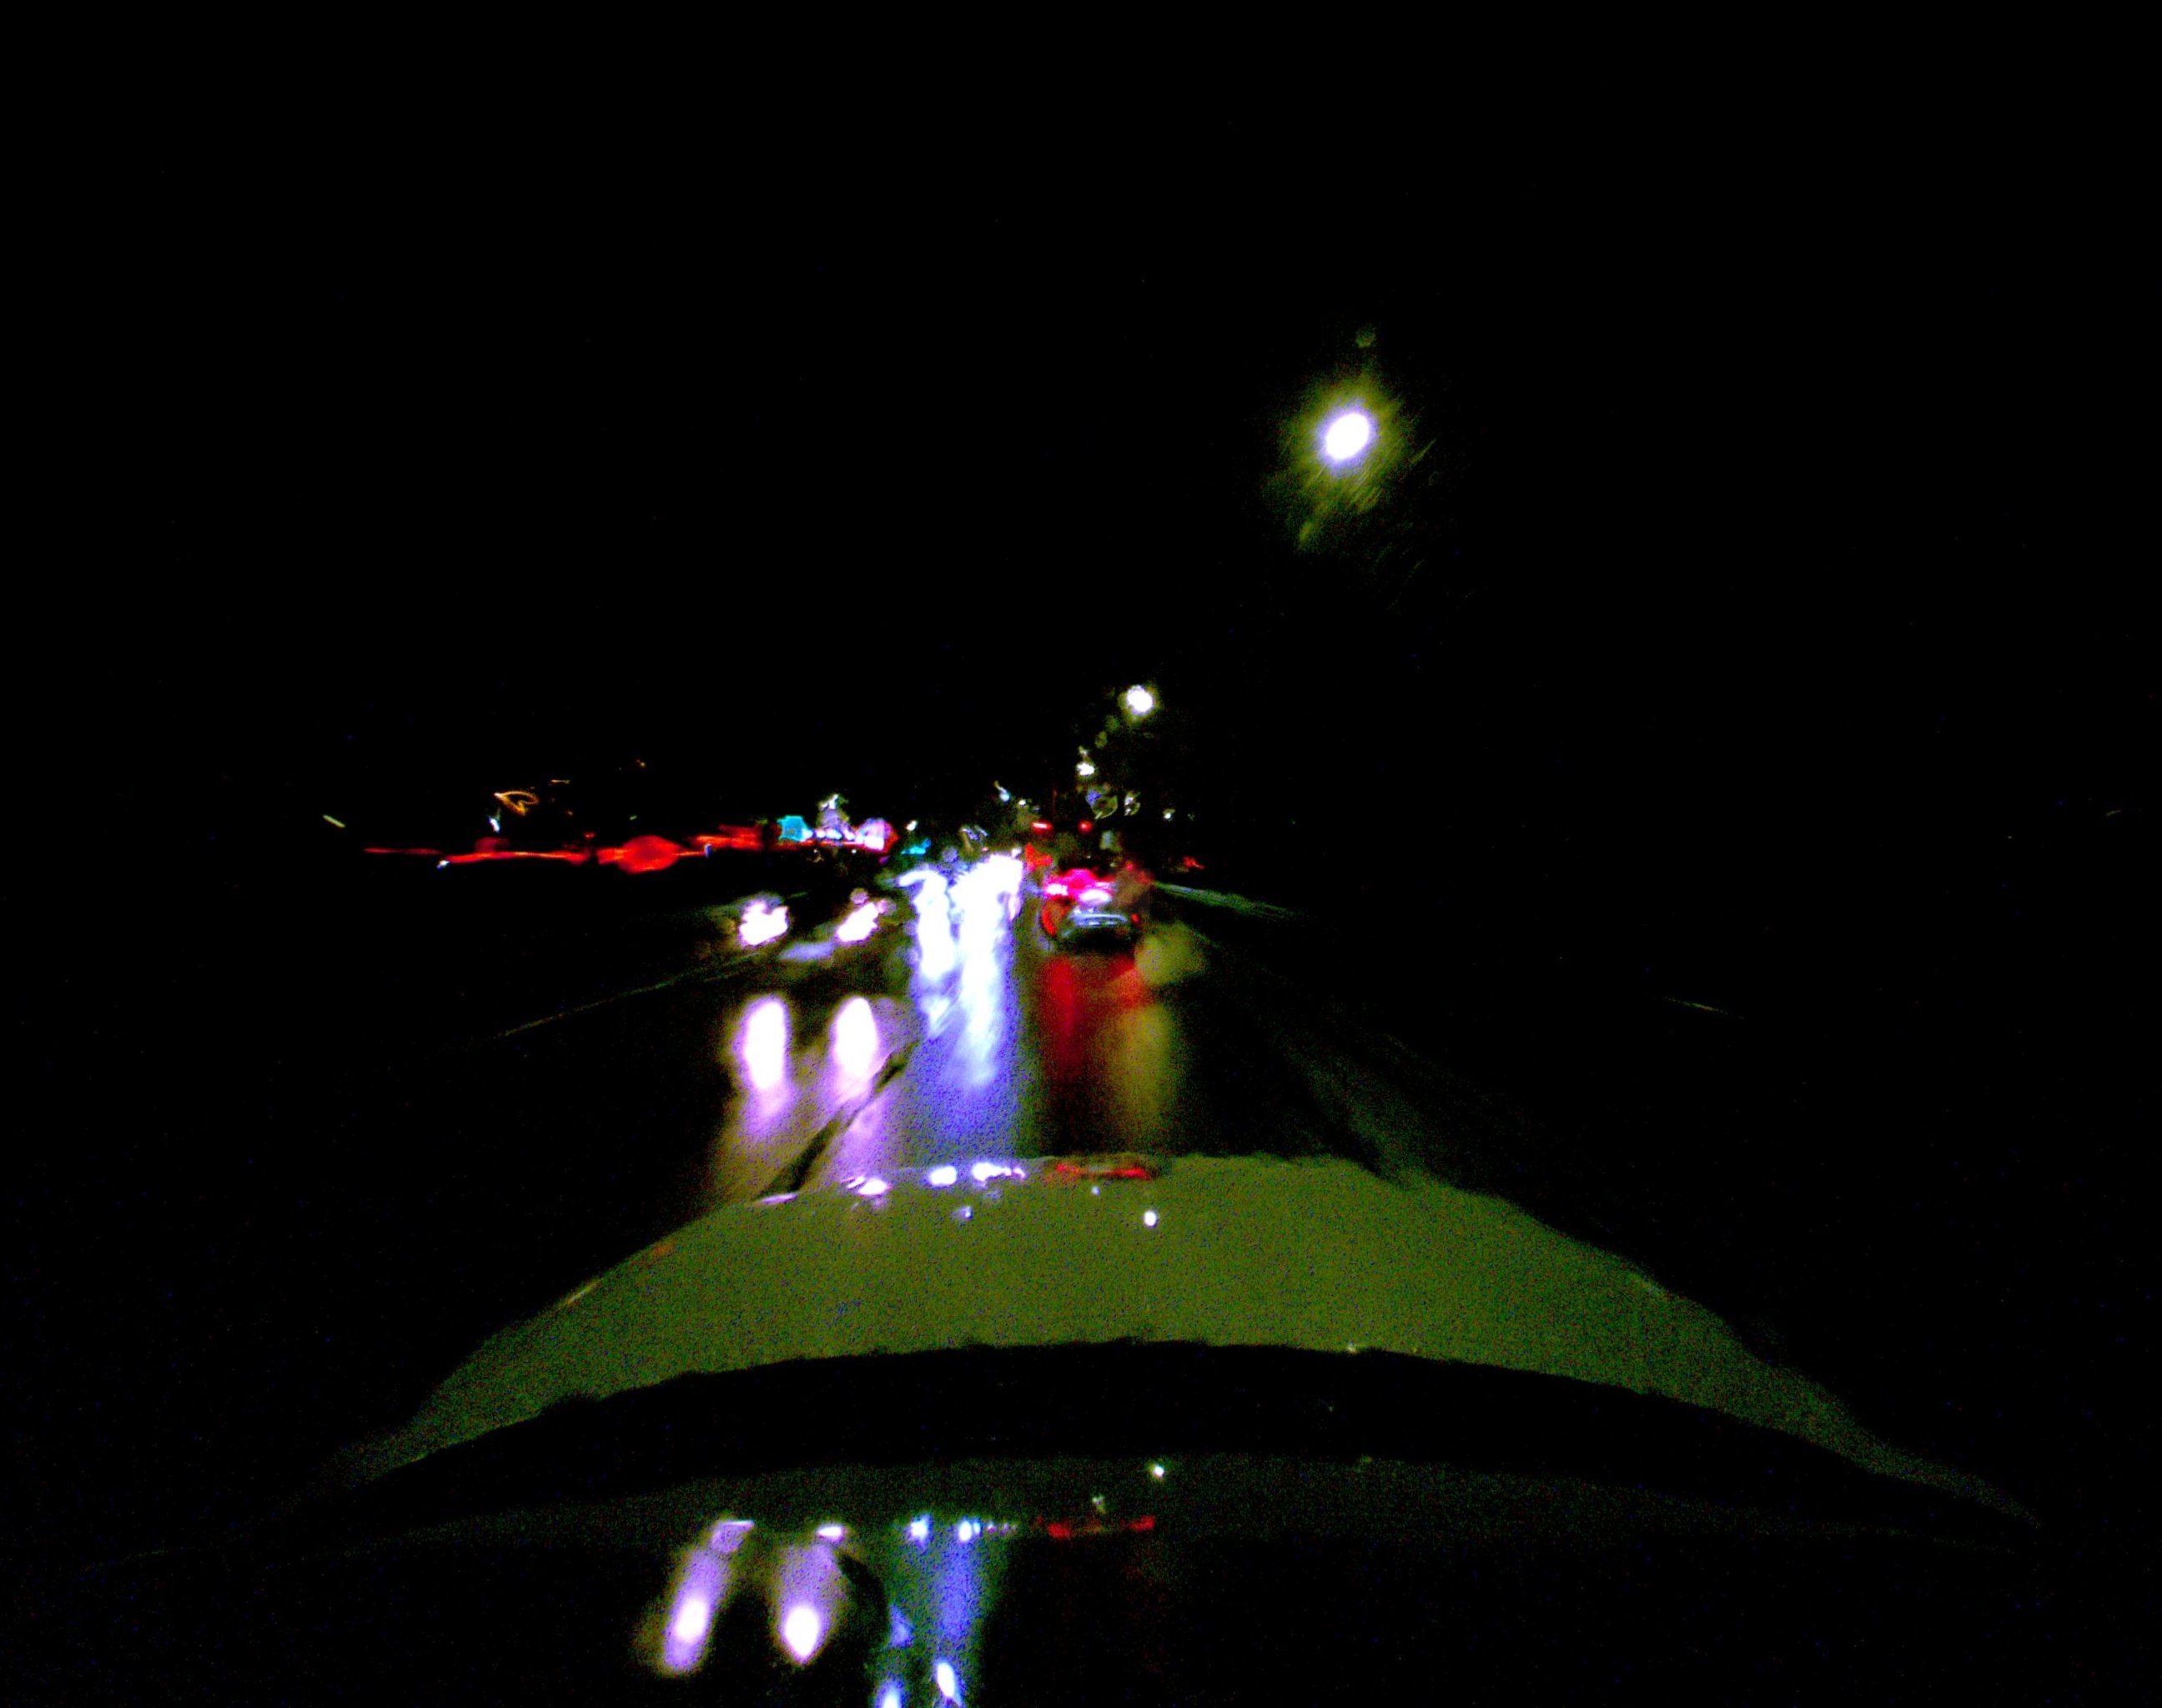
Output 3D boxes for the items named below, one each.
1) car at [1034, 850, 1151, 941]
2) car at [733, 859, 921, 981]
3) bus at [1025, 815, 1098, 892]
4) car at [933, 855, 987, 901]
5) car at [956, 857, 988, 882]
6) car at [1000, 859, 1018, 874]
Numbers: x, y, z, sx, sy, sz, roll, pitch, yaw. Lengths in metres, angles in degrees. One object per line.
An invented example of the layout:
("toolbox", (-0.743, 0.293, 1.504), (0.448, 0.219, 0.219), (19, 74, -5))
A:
("car", (0.299, 0.692, 15.842), (1.985, 1.524, 4.003), (0, 1, 3))
("car", (-3.481, 0.813, 11.871), (1.660, 1.432, 3.816), (-1, 0, -2))
("bus", (-1.133, -0.038, 39.112), (3.037, 3.212, 9.037), (-1, 0, -4))
("car", (-4.199, 0.797, 28.841), (1.615, 1.478, 4.039), (-1, 0, -5))
("car", (-6.376, 0.889, 47.979), (1.757, 1.431, 4.319), (0, 0, -6))
("car", (-7.445, 1.285, 84.075), (1.821, 1.403, 4.028), (1, 0, -6))
